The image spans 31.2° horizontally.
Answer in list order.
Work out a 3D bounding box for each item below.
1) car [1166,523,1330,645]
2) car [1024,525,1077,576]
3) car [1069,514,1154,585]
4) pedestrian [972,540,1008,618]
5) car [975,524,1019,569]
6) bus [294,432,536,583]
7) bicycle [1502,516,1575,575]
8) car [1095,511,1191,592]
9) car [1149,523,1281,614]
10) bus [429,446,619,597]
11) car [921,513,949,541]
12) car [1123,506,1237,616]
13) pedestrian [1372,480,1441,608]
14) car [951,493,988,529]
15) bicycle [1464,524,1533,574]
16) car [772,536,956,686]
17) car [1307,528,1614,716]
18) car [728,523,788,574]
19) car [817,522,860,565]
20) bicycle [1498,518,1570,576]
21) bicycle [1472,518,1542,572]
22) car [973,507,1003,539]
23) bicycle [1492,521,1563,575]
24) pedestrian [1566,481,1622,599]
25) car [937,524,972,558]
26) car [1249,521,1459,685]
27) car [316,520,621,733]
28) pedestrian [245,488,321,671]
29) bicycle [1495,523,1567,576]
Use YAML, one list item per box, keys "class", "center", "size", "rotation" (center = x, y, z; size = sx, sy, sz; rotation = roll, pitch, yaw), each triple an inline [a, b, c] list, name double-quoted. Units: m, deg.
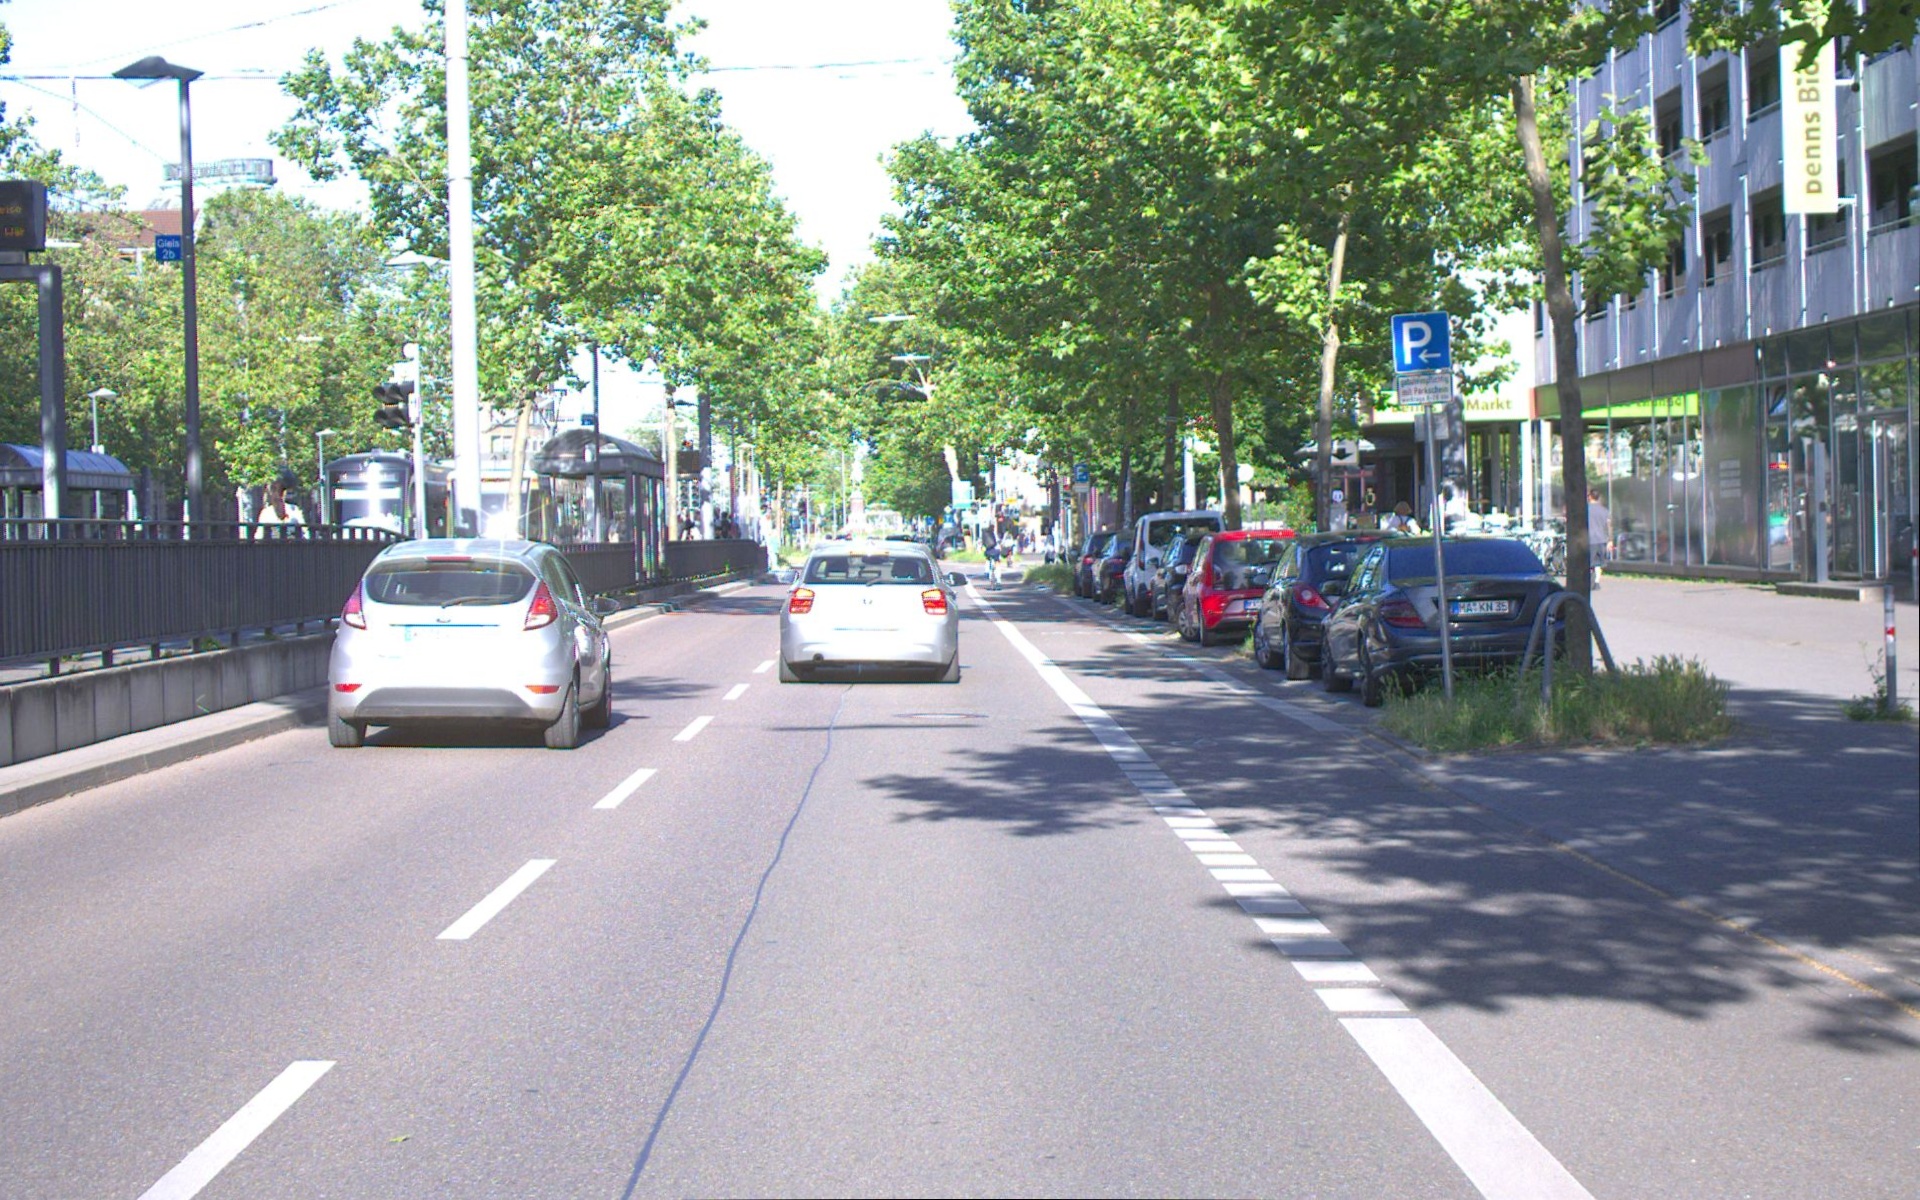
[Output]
- class: "car"
  center: [3.774, -0.230, 45.659]
  size: [1.806, 1.515, 4.000]
  rotation: [1, 1, 0]
- class: "car"
  center: [3.316, -1.836, 126.520]
  size: [1.809, 1.785, 3.912]
  rotation: [1, 2, 0]
- class: "car"
  center: [3.395, -1.157, 77.531]
  size: [1.700, 1.529, 3.717]
  rotation: [1, 2, 0]
- class: "pedestrian"
  center: [0.782, -0.552, 89.526]
  size: [0.838, 2.006, 0.648]
  rotation: [1, 2, 7]
- class: "car"
  center: [1.709, -2.498, 160.972]
  size: [1.993, 2.006, 4.000]
  rotation: [1, 2, 0]
- class: "bus"
  center: [-14.703, -2.585, 95.522]
  size: [2.869, 3.616, 24.605]
  rotation: [0, 2, 0]
- class: "bicycle"
  center: [11.548, -1.082, 68.623]
  size: [1.383, 1.144, 0.243]
  rotation: [1, 2, -1]
- class: "car"
  center: [3.712, -1.016, 70.365]
  size: [1.711, 1.557, 4.000]
  rotation: [1, 2, 0]
- class: "car"
  center: [4.060, -0.509, 55.211]
  size: [1.781, 1.376, 4.000]
  rotation: [1, 1, 0]
- class: "bus"
  center: [-11.450, -2.161, 92.383]
  size: [2.750, 3.613, 18.849]
  rotation: [0, 2, 0]
- class: "car"
  center: [-1.867, -5.489, 258.340]
  size: [1.993, 2.006, 4.000]
  rotation: [1, 2, 0]
- class: "car"
  center: [3.877, -0.709, 61.204]
  size: [1.724, 1.874, 4.000]
  rotation: [1, 1, 0]
- class: "pedestrian"
  center: [7.147, -0.900, 55.097]
  size: [0.963, 2.007, 0.939]
  rotation: [-1, 1, 0]
- class: "car"
  center: [0.505, -5.017, 194.794]
  size: [1.993, 2.007, 4.000]
  rotation: [-1, 1, -1]
- class: "bicycle"
  center: [11.262, -1.070, 71.880]
  size: [1.383, 1.009, 0.243]
  rotation: [1, 2, -1]
- class: "car"
  center: [-0.964, 0.070, 35.073]
  size: [1.762, 1.427, 4.000]
  rotation: [0, 1, -1]
- class: "car"
  center: [4.323, 0.154, 30.389]
  size: [1.993, 1.504, 4.598]
  rotation: [1, 1, 0]
- class: "car"
  center: [-7.570, -1.956, 128.916]
  size: [1.993, 1.810, 4.000]
  rotation: [1, 2, 0]
- class: "car"
  center: [-6.012, -2.814, 170.802]
  size: [1.993, 2.006, 4.000]
  rotation: [1, 2, 0]
- class: "bicycle"
  center: [11.516, -1.067, 68.942]
  size: [1.383, 1.144, 0.243]
  rotation: [1, 2, -1]
- class: "bicycle"
  center: [11.347, -1.134, 71.293]
  size: [1.383, 1.094, 0.243]
  rotation: [1, 2, -1]
- class: "car"
  center: [1.763, -4.894, 217.842]
  size: [1.875, 2.006, 3.712]
  rotation: [1, 2, 0]
- class: "bicycle"
  center: [11.482, -1.048, 69.567]
  size: [1.383, 1.055, 0.243]
  rotation: [1, 2, -1]
- class: "pedestrian"
  center: [10.892, -1.033, 59.111]
  size: [0.788, 2.007, 0.891]
  rotation: [-1, 1, 0]
- class: "car"
  center: [-0.348, -3.571, 206.993]
  size: [2.071, 2.007, 4.000]
  rotation: [-1, 1, 0]
- class: "car"
  center: [4.024, -0.018, 35.649]
  size: [1.669, 1.546, 4.000]
  rotation: [1, 2, 0]
- class: "car"
  center: [-3.449, 0.133, 24.715]
  size: [1.646, 1.358, 3.760]
  rotation: [1, 2, 0]
- class: "pedestrian"
  center: [-7.345, -0.233, 37.323]
  size: [0.639, 1.947, 0.814]
  rotation: [1, 2, 0]
- class: "bicycle"
  center: [11.505, -1.016, 69.248]
  size: [1.383, 1.052, 0.243]
  rotation: [1, 2, -1]
